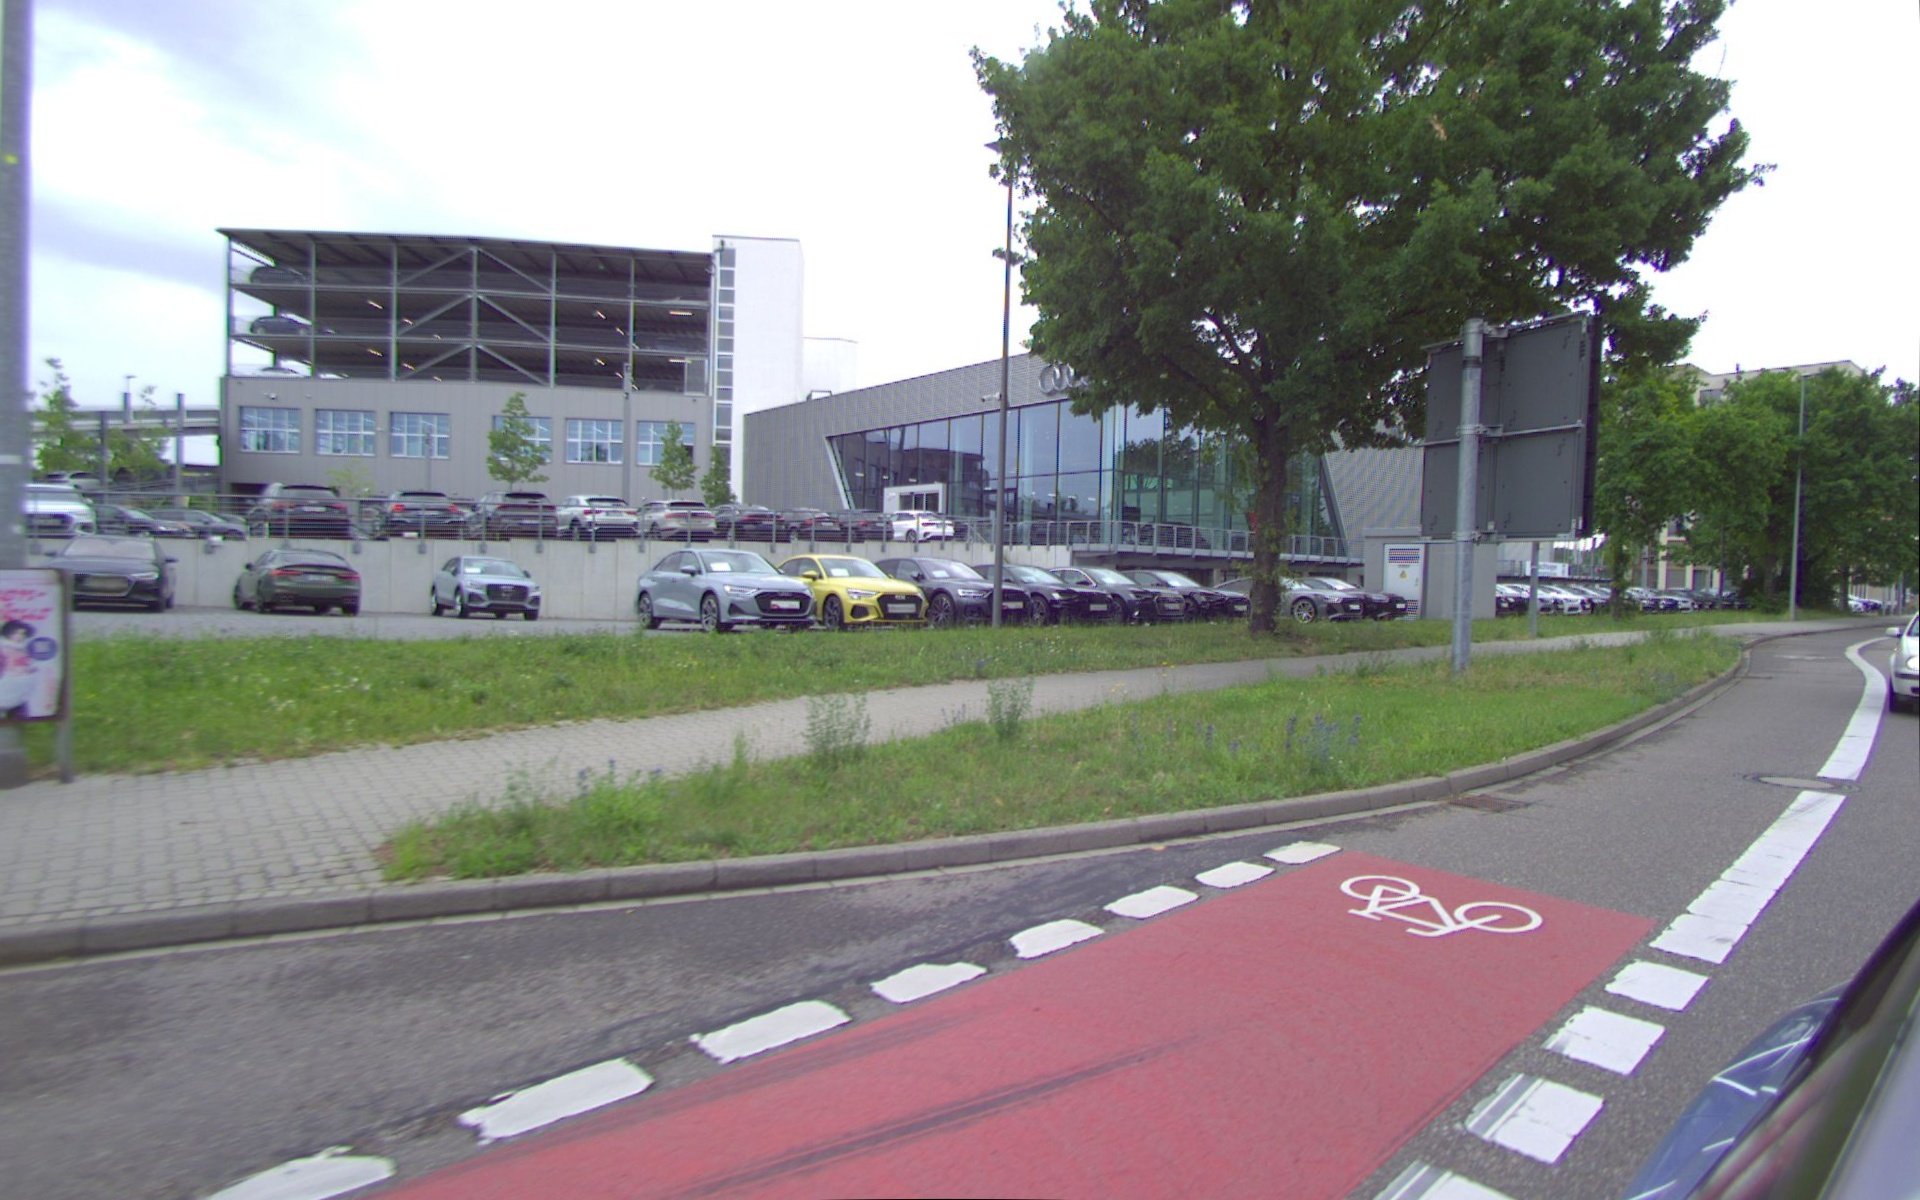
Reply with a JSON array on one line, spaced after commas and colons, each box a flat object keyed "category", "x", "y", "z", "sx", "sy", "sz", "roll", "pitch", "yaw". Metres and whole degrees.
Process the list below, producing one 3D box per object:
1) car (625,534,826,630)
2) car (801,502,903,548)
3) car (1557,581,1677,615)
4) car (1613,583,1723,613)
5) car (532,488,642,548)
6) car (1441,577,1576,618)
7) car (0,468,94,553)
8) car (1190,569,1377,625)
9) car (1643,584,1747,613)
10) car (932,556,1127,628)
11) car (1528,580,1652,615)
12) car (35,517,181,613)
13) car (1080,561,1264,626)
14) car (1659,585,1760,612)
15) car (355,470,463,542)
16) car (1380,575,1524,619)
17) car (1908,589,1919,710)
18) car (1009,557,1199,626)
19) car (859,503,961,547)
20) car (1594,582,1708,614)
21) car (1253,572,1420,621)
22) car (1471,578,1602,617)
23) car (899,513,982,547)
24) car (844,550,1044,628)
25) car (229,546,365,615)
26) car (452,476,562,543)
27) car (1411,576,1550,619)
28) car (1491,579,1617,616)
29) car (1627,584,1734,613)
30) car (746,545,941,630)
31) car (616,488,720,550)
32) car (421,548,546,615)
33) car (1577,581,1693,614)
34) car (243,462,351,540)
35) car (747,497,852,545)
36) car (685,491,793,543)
[{"category": "car", "x": -4.145, "y": -0.245, "z": 17.395, "sx": 1.708, "sy": 1.450, "sz": 4.196, "roll": 0, "pitch": -1, "yaw": -39}, {"category": "car", "x": -4.190, "y": -2.814, "z": 38.748, "sx": 1.800, "sy": 1.381, "sz": 4.304, "roll": 0, "pitch": -1, "yaw": -41}, {"category": "car", "x": 28.301, "y": -0.073, "z": 43.700, "sx": 1.696, "sy": 1.410, "sz": 4.038, "roll": 0, "pitch": -1, "yaw": -39}, {"category": "car", "x": 33.856, "y": -0.072, "z": 48.474, "sx": 1.696, "sy": 1.410, "sz": 4.038, "roll": 0, "pitch": -1, "yaw": -39}, {"category": "car", "x": -11.663, "y": -2.490, "z": 31.491, "sx": 1.832, "sy": 1.451, "sz": 4.304, "roll": 0, "pitch": -1, "yaw": -41}, {"category": "car", "x": 20.154, "y": -0.065, "z": 37.325, "sx": 1.696, "sy": 1.410, "sz": 4.038, "roll": 0, "pitch": -1, "yaw": -39}, {"category": "car", "x": -21.288, "y": -1.990, "z": 23.470, "sx": 1.800, "sy": 1.554, "sz": 4.304, "roll": 0, "pitch": -1, "yaw": -41}, {"category": "car", "x": 8.999, "y": -0.049, "z": 28.515, "sx": 1.868, "sy": 1.442, "sz": 4.761, "roll": 0, "pitch": -1, "yaw": -39}, {"category": "car", "x": 37.817, "y": -0.062, "z": 52.139, "sx": 1.696, "sy": 1.410, "sz": 4.038, "roll": 0, "pitch": -1, "yaw": -39}, {"category": "car", "x": 1.403, "y": -0.130, "z": 21.983, "sx": 1.805, "sy": 1.396, "sz": 4.306, "roll": 0, "pitch": -1, "yaw": -39}, {"category": "car", "x": 26.139, "y": -0.075, "z": 42.087, "sx": 1.696, "sy": 1.410, "sz": 4.038, "roll": 0, "pitch": -1, "yaw": -39}, {"category": "car", "x": -16.377, "y": -0.662, "z": 19.649, "sx": 1.866, "sy": 1.621, "sz": 4.310, "roll": 2, "pitch": 1, "yaw": -37}, {"category": "car", "x": 5.166, "y": -0.124, "z": 25.109, "sx": 1.811, "sy": 1.463, "sz": 4.306, "roll": 0, "pitch": -1, "yaw": -39}, {"category": "car", "x": 39.909, "y": -0.064, "z": 53.978, "sx": 1.696, "sy": 1.410, "sz": 4.038, "roll": 0, "pitch": -1, "yaw": -39}, {"category": "car", "x": -15.495, "y": -2.552, "z": 28.356, "sx": 1.800, "sy": 1.545, "sz": 4.304, "roll": 0, "pitch": -1, "yaw": -41}, {"category": "car", "x": 16.568, "y": -0.064, "z": 34.204, "sx": 1.696, "sy": 1.410, "sz": 4.038, "roll": 0, "pitch": -1, "yaw": -39}, {"category": "car", "x": 13.314, "y": 0.599, "z": 12.912, "sx": 1.722, "sy": 1.442, "sz": 3.878, "roll": 1, "pitch": 1, "yaw": 44}, {"category": "car", "x": 3.242, "y": -0.150, "z": 23.534, "sx": 1.811, "sy": 1.463, "sz": 4.306, "roll": 0, "pitch": -1, "yaw": -39}, {"category": "car", "x": -2.059, "y": -2.938, "z": 40.453, "sx": 1.800, "sy": 1.381, "sz": 4.304, "roll": 0, "pitch": -1, "yaw": -41}, {"category": "car", "x": 31.922, "y": -0.058, "z": 46.832, "sx": 1.696, "sy": 1.410, "sz": 4.038, "roll": 0, "pitch": -1, "yaw": -39}, {"category": "car", "x": 11.013, "y": -0.065, "z": 29.849, "sx": 1.830, "sy": 1.333, "sz": 4.306, "roll": 0, "pitch": -1, "yaw": -39}, {"category": "car", "x": 22.082, "y": -0.072, "z": 38.896, "sx": 1.696, "sy": 1.410, "sz": 4.038, "roll": 0, "pitch": -1, "yaw": -39}, {"category": "car", "x": -1.010, "y": -3.443, "z": 50.346, "sx": 1.800, "sy": 1.381, "sz": 4.304, "roll": 0, "pitch": -1, "yaw": -41}, {"category": "car", "x": -0.434, "y": -0.173, "z": 20.138, "sx": 1.708, "sy": 1.375, "sz": 4.306, "roll": 0, "pitch": -1, "yaw": -39}, {"category": "car", "x": -14.581, "y": -0.450, "z": 22.157, "sx": 1.869, "sy": 1.345, "sz": 4.305, "roll": 2, "pitch": 1, "yaw": -42}, {"category": "car", "x": -13.405, "y": -2.595, "z": 29.832, "sx": 1.800, "sy": 1.531, "sz": 4.304, "roll": 0, "pitch": -1, "yaw": -41}, {"category": "car", "x": 18.331, "y": -0.061, "z": 35.804, "sx": 1.696, "sy": 1.410, "sz": 4.038, "roll": 0, "pitch": -1, "yaw": -39}, {"category": "car", "x": 23.722, "y": -0.063, "z": 40.524, "sx": 1.696, "sy": 1.410, "sz": 4.038, "roll": 0, "pitch": -1, "yaw": -39}, {"category": "car", "x": 35.867, "y": -0.055, "z": 50.453, "sx": 1.696, "sy": 1.410, "sz": 4.038, "roll": 0, "pitch": -1, "yaw": -39}, {"category": "car", "x": -2.270, "y": -0.185, "z": 18.860, "sx": 1.762, "sy": 1.395, "sz": 4.055, "roll": 0, "pitch": -1, "yaw": -38}, {"category": "car", "x": -9.613, "y": -2.582, "z": 33.135, "sx": 1.861, "sy": 1.612, "sz": 4.308, "roll": 0, "pitch": -1, "yaw": -38}, {"category": "car", "x": -11.582, "y": -0.378, "z": 24.486, "sx": 1.868, "sy": 1.478, "sz": 3.914, "roll": 0, "pitch": -1, "yaw": -39}, {"category": "car", "x": 30.265, "y": -0.065, "z": 45.457, "sx": 1.696, "sy": 1.410, "sz": 4.038, "roll": 0, "pitch": -1, "yaw": -39}, {"category": "car", "x": -17.486, "y": -2.517, "z": 26.596, "sx": 1.827, "sy": 1.546, "sz": 4.304, "roll": 0, "pitch": -1, "yaw": -41}, {"category": "car", "x": -5.925, "y": -2.836, "z": 36.979, "sx": 1.800, "sy": 1.381, "sz": 4.304, "roll": 0, "pitch": -1, "yaw": -41}, {"category": "car", "x": -7.658, "y": -2.795, "z": 34.845, "sx": 1.800, "sy": 1.381, "sz": 4.304, "roll": 0, "pitch": -1, "yaw": -41}]
